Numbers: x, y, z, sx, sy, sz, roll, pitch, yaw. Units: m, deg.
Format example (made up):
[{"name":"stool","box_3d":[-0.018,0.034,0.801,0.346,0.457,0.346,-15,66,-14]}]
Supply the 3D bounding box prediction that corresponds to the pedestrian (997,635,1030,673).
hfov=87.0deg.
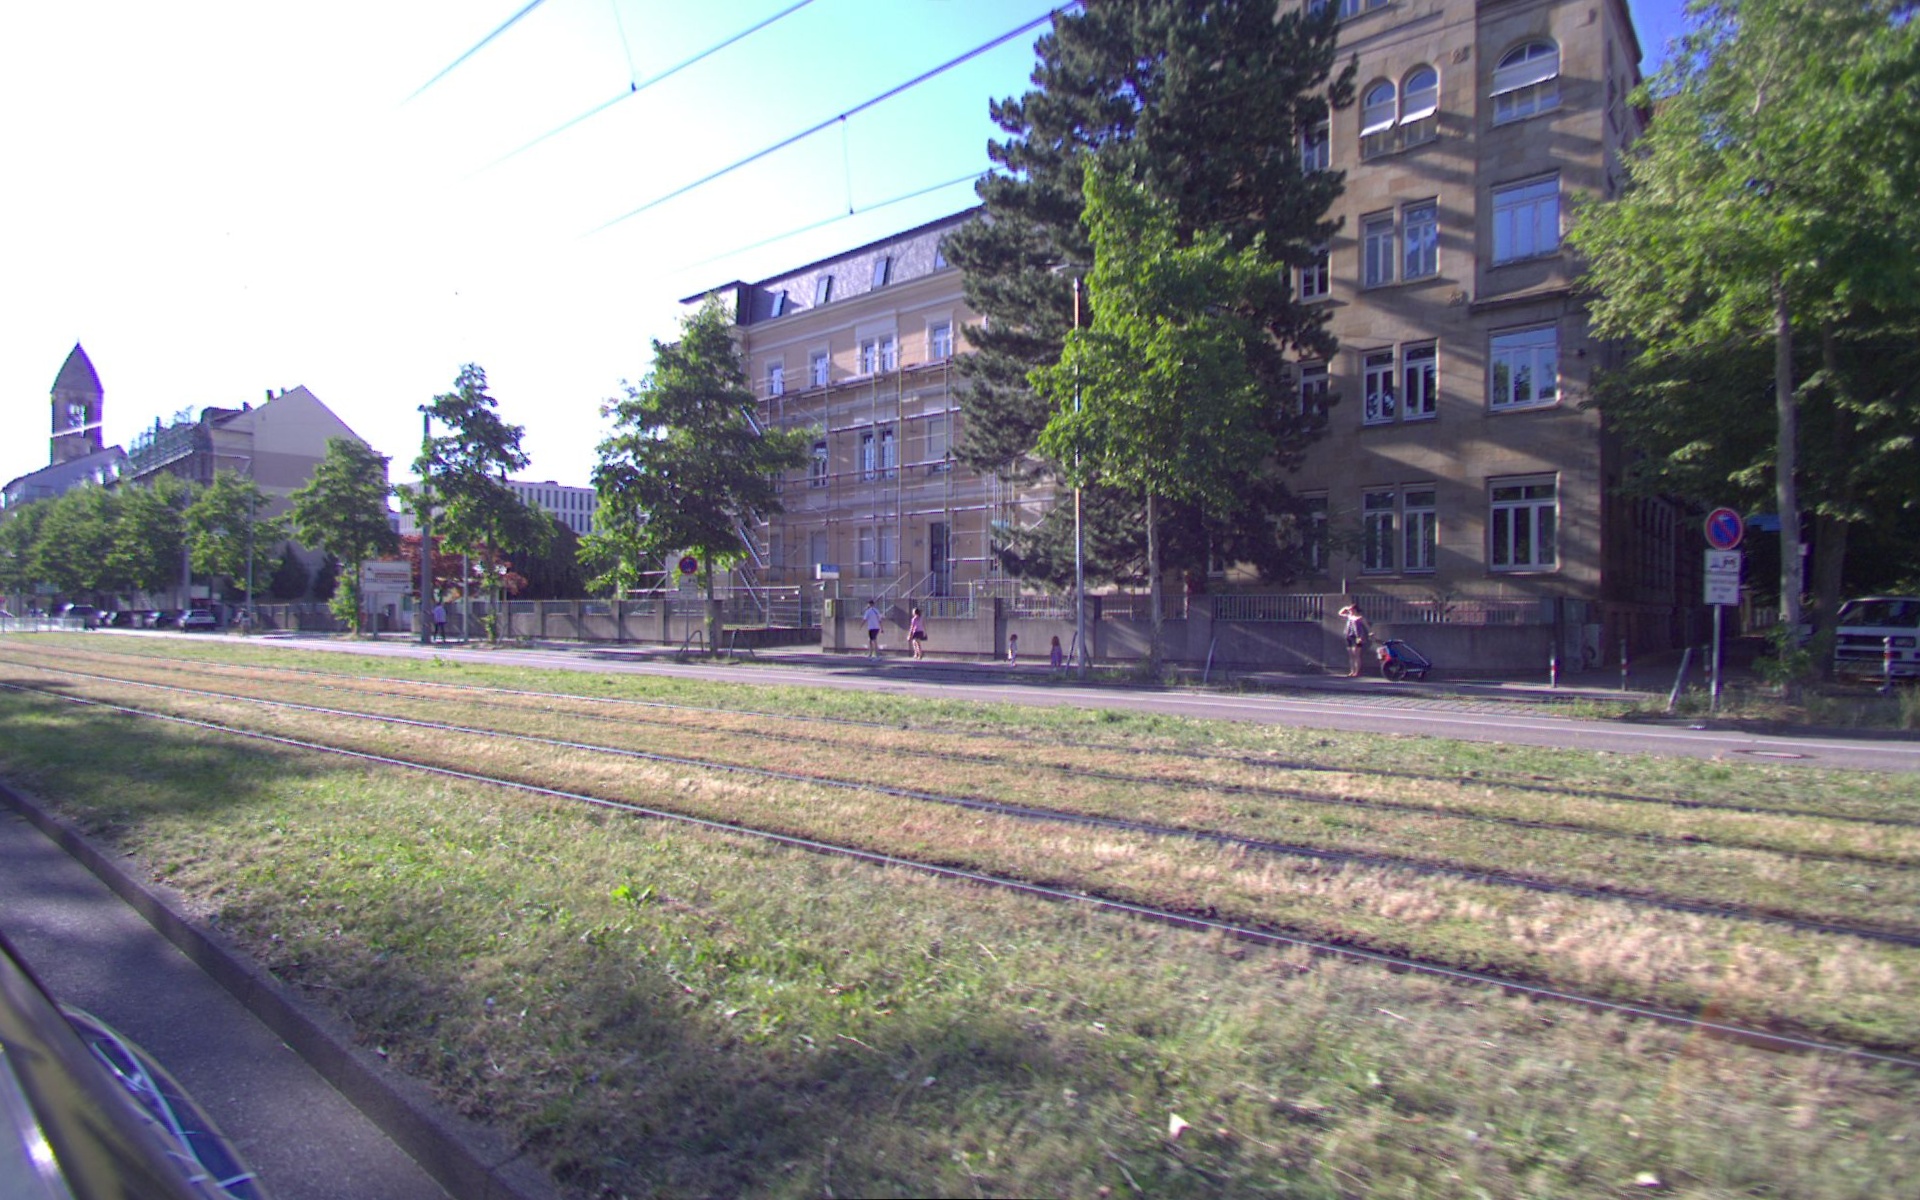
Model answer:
[{"name":"pedestrian","box_3d":[1.386,1.395,26.268,0.642,0.939,0.585,3,-3,-44]}]

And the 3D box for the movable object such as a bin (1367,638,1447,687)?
[{"name":"movable object such as a bin","box_3d":[9.224,1.270,20.870,1.235,0.871,1.233,0,1,39]}]

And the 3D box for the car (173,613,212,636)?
[{"name":"car","box_3d":[-55.208,1.731,72.804,1.702,1.598,4.067,-2,1,-45]}]

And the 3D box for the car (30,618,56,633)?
[{"name":"car","box_3d":[-106.862,2.919,117.977,3.783,1.648,1.788,-1,1,41]}]

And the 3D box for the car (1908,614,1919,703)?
[{"name":"car","box_3d":[18.311,0.975,16.881,4.119,1.482,2.007,0,0,-20]}]

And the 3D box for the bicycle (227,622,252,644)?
[{"name":"bicycle","box_3d":[-41.518,1.877,58.307,1.754,1.202,0.767,-1,1,41]}]

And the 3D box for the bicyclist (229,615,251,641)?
[{"name":"bicyclist","box_3d":[-41.418,1.605,58.208,1.133,1.492,0.767,-1,0,41]}]

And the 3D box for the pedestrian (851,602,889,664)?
[{"name":"pedestrian","box_3d":[-2.639,0.969,29.785,0.887,1.789,0.643,-1,-3,40]}]

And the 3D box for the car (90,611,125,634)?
[{"name":"car","box_3d":[-78.882,2.072,93.675,4.000,2.029,1.972,-1,1,43]}]

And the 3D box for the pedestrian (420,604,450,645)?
[{"name":"pedestrian","box_3d":[-25.099,1.190,48.382,1.085,1.942,0.849,-1,-3,40]}]

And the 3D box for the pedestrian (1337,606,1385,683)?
[{"name":"pedestrian","box_3d":[8.652,0.949,21.838,0.797,1.605,0.612,-1,0,39]}]

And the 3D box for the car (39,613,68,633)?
[{"name":"car","box_3d":[-101.131,2.529,112.919,3.783,2.182,1.920,-1,1,41]}]

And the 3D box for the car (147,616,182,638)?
[{"name":"car","box_3d":[-62.710,2.109,79.775,1.702,1.598,4.067,-2,1,-45]}]

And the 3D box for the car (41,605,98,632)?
[{"name":"car","box_3d":[-66.235,1.346,75.243,4.456,1.933,1.925,0,0,31]}]

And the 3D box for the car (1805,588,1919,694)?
[{"name":"car","box_3d":[20.613,0.785,21.562,4.534,2.029,2.007,-1,0,-20]}]

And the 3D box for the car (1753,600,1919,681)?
[{"name":"car","box_3d":[24.098,1.007,26.518,4.939,1.932,2.067,-1,0,0]}]

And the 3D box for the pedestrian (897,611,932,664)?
[{"name":"pedestrian","box_3d":[-1.359,1.110,30.205,0.782,1.551,0.643,-1,-3,39]}]

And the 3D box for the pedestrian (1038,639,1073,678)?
[{"name":"pedestrian","box_3d":[2.344,1.427,24.824,0.642,0.939,0.585,3,-3,-44]}]
